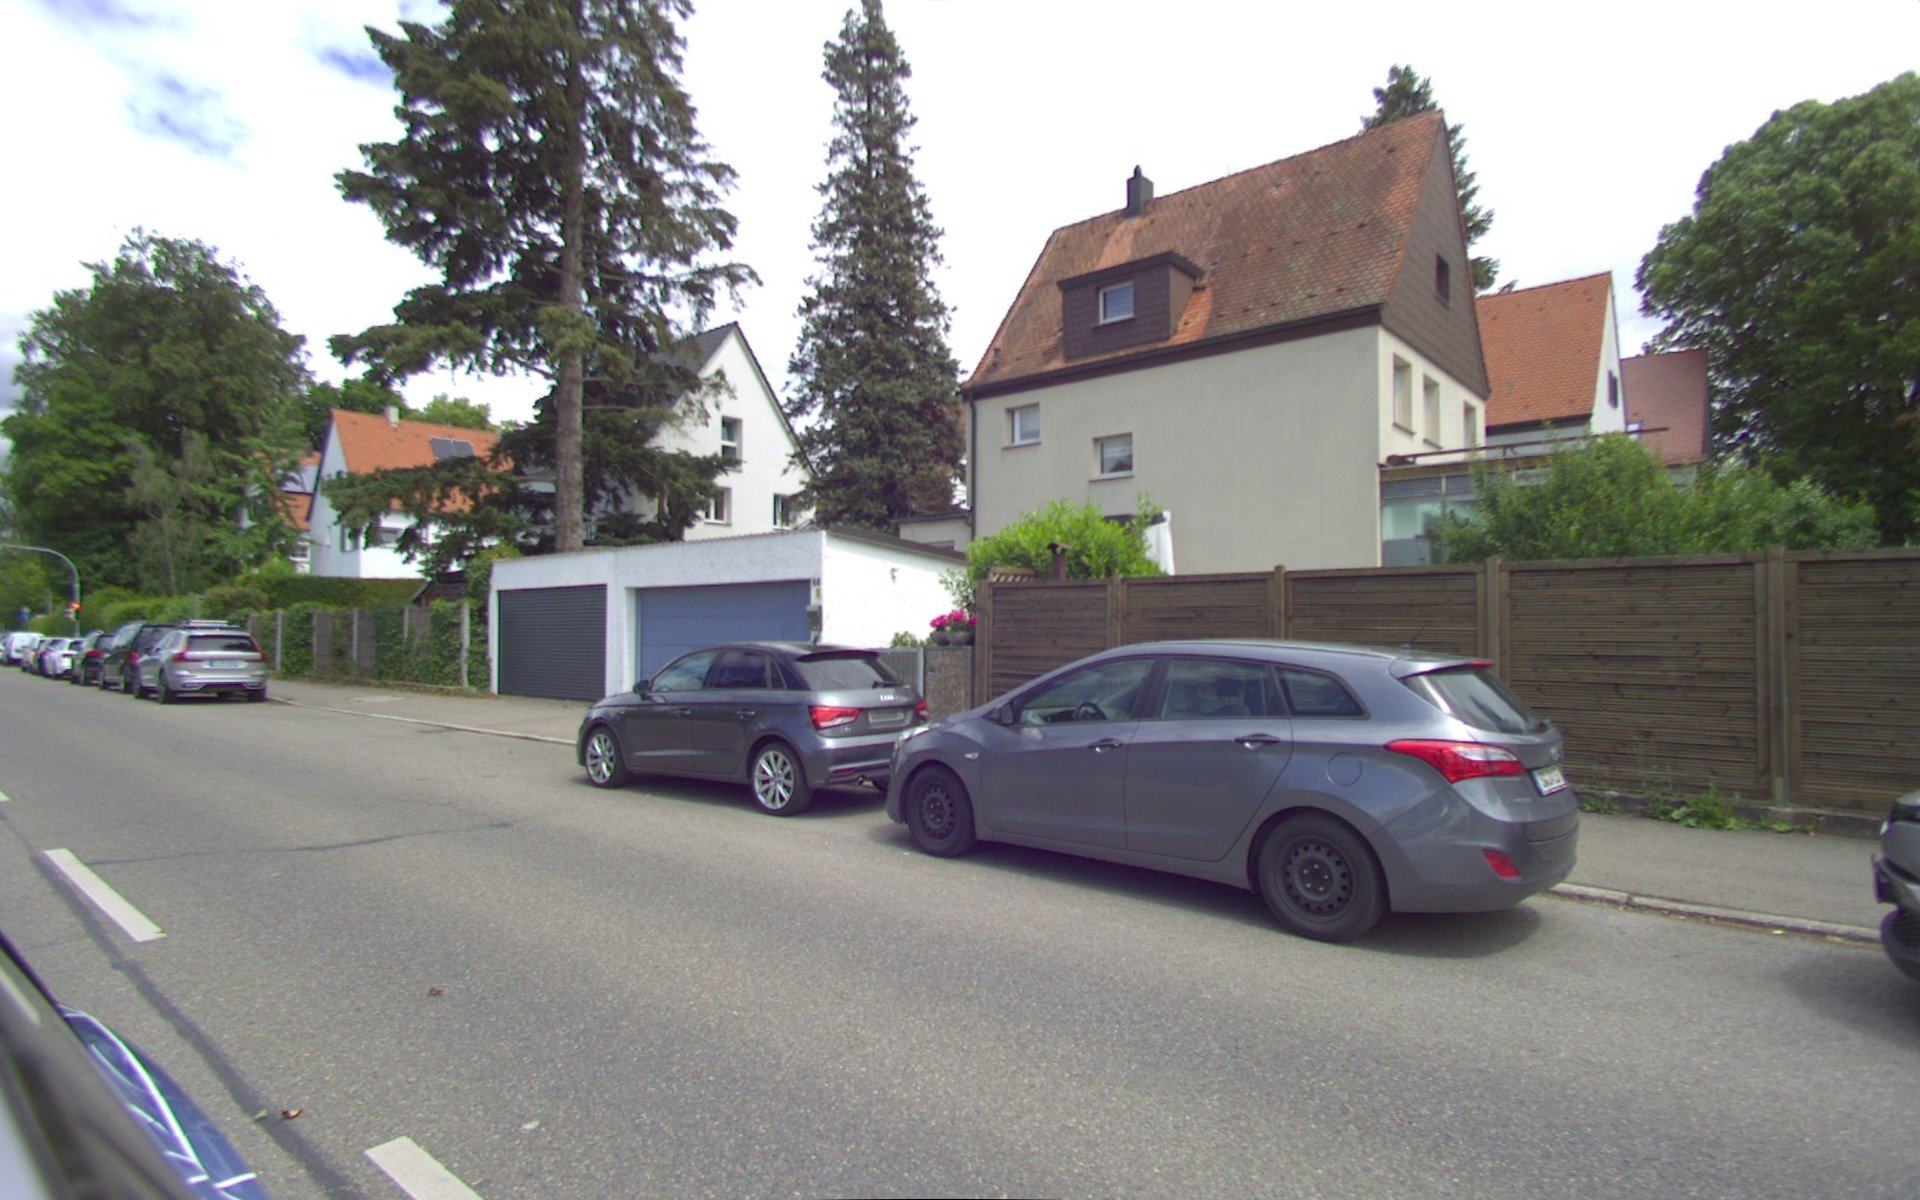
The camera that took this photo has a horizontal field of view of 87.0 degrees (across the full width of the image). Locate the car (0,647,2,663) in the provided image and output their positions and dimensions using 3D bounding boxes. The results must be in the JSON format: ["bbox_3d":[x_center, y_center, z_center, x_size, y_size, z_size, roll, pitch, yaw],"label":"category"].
[{"bbox_3d":[-85.187,4.820,88.529,1.944,1.413,4.068,1,-3,-45],"label":"car"}]

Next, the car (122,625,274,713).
[{"bbox_3d":[-17.747,1.551,23.478,4.706,1.833,1.963,-3,-3,42],"label":"car"}]

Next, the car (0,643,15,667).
[{"bbox_3d":[-66.303,3.783,69.451,4.415,1.623,1.771,-3,-3,42],"label":"car"}]

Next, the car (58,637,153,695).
[{"bbox_3d":[-26.794,2.043,31.688,4.583,1.691,1.609,-3,-5,42],"label":"car"}]

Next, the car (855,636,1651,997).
[{"bbox_3d":[1.507,0.969,6.395,4.489,1.470,1.846,-2,-3,43],"label":"car"}]

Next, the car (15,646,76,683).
[{"bbox_3d":[-39.566,2.771,43.753,3.744,1.555,1.683,-3,-5,45],"label":"car"}]

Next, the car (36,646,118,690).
[{"bbox_3d":[-31.697,2.410,36.288,5.070,1.470,1.785,-3,-5,45],"label":"car"}]

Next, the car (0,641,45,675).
[{"bbox_3d":[-50.658,3.113,54.449,4.607,1.772,1.658,-3,-5,43],"label":"car"}]

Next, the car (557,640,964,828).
[{"bbox_3d":[-1.994,1.125,9.614,3.899,1.438,1.635,-2,-4,37],"label":"car"}]

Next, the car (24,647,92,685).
[{"bbox_3d":[-35.771,2.595,40.105,4.325,1.421,1.723,-3,-5,45],"label":"car"}]

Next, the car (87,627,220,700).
[{"bbox_3d":[-22.166,1.672,27.743,4.881,1.768,2.045,-2,-1,41],"label":"car"}]

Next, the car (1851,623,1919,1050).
[{"bbox_3d":[5.604,0.816,2.780,4.648,1.491,1.971,-2,-4,44],"label":"car"}]

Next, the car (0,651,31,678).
[{"bbox_3d":[-54.297,3.658,57.820,1.684,1.464,4.361,5,-6,-42],"label":"car"}]
